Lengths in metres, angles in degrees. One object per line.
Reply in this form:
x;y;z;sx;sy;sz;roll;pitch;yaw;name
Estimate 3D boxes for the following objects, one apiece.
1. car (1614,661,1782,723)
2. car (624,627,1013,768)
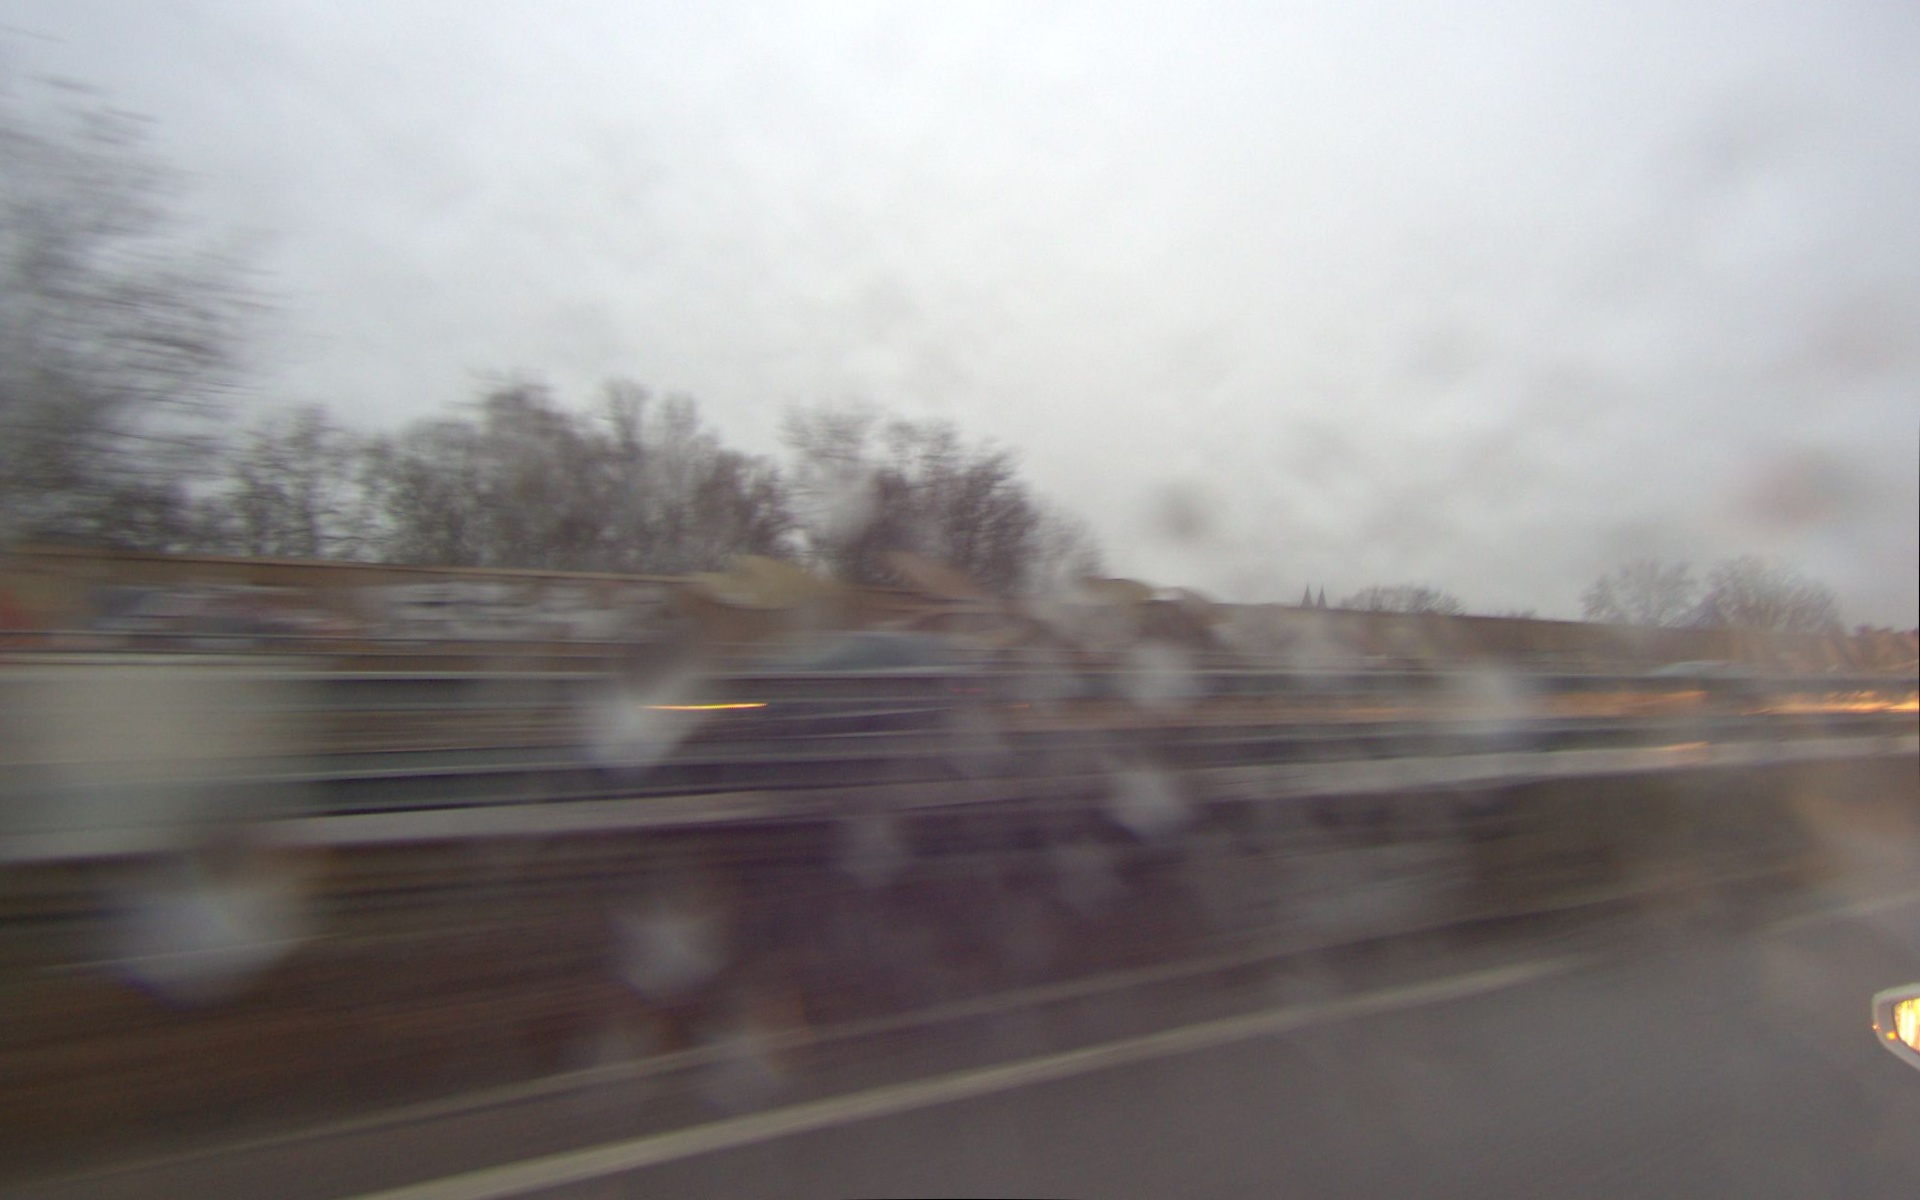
19.540;2.411;26.585;4.404;1.484;1.887;3;-3;-28;car
-1.806;1.209;13.359;4.792;1.585;1.778;2;-2;-29;car
